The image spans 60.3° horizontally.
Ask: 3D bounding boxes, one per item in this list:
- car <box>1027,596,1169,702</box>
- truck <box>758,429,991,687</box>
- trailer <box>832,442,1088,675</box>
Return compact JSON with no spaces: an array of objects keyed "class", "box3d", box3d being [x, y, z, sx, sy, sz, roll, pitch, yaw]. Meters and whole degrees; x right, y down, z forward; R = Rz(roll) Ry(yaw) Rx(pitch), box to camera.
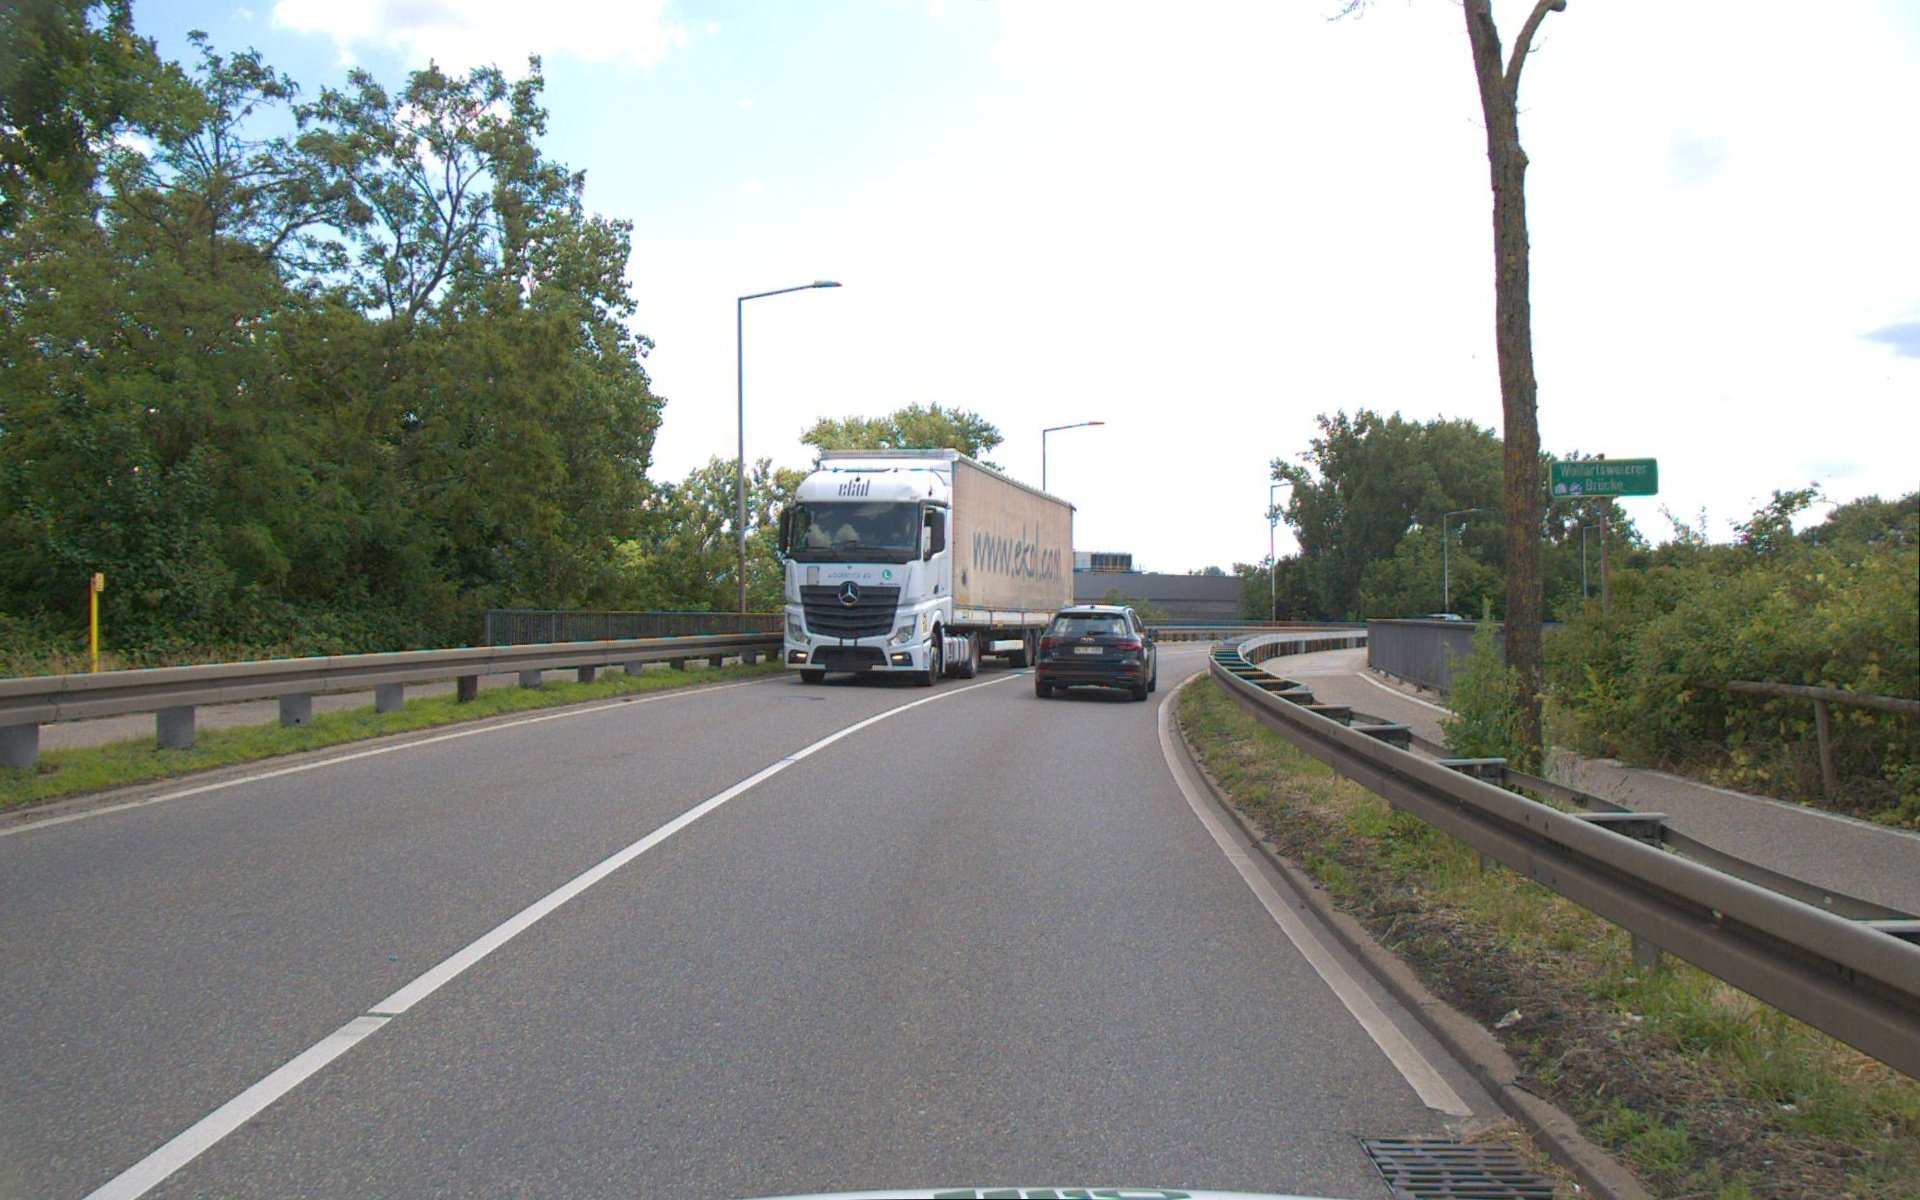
[{"class":"car","box3d":[2.332,0.728,26.939,1.789,1.517,4.210,2,0,11]},{"class":"truck","box3d":[-1.373,-0.690,30.024,2.702,4.207,5.657,1,0,13]},{"class":"trailer","box3d":[0.506,-0.745,38.134,2.648,4.355,14.243,1,0,13]}]
